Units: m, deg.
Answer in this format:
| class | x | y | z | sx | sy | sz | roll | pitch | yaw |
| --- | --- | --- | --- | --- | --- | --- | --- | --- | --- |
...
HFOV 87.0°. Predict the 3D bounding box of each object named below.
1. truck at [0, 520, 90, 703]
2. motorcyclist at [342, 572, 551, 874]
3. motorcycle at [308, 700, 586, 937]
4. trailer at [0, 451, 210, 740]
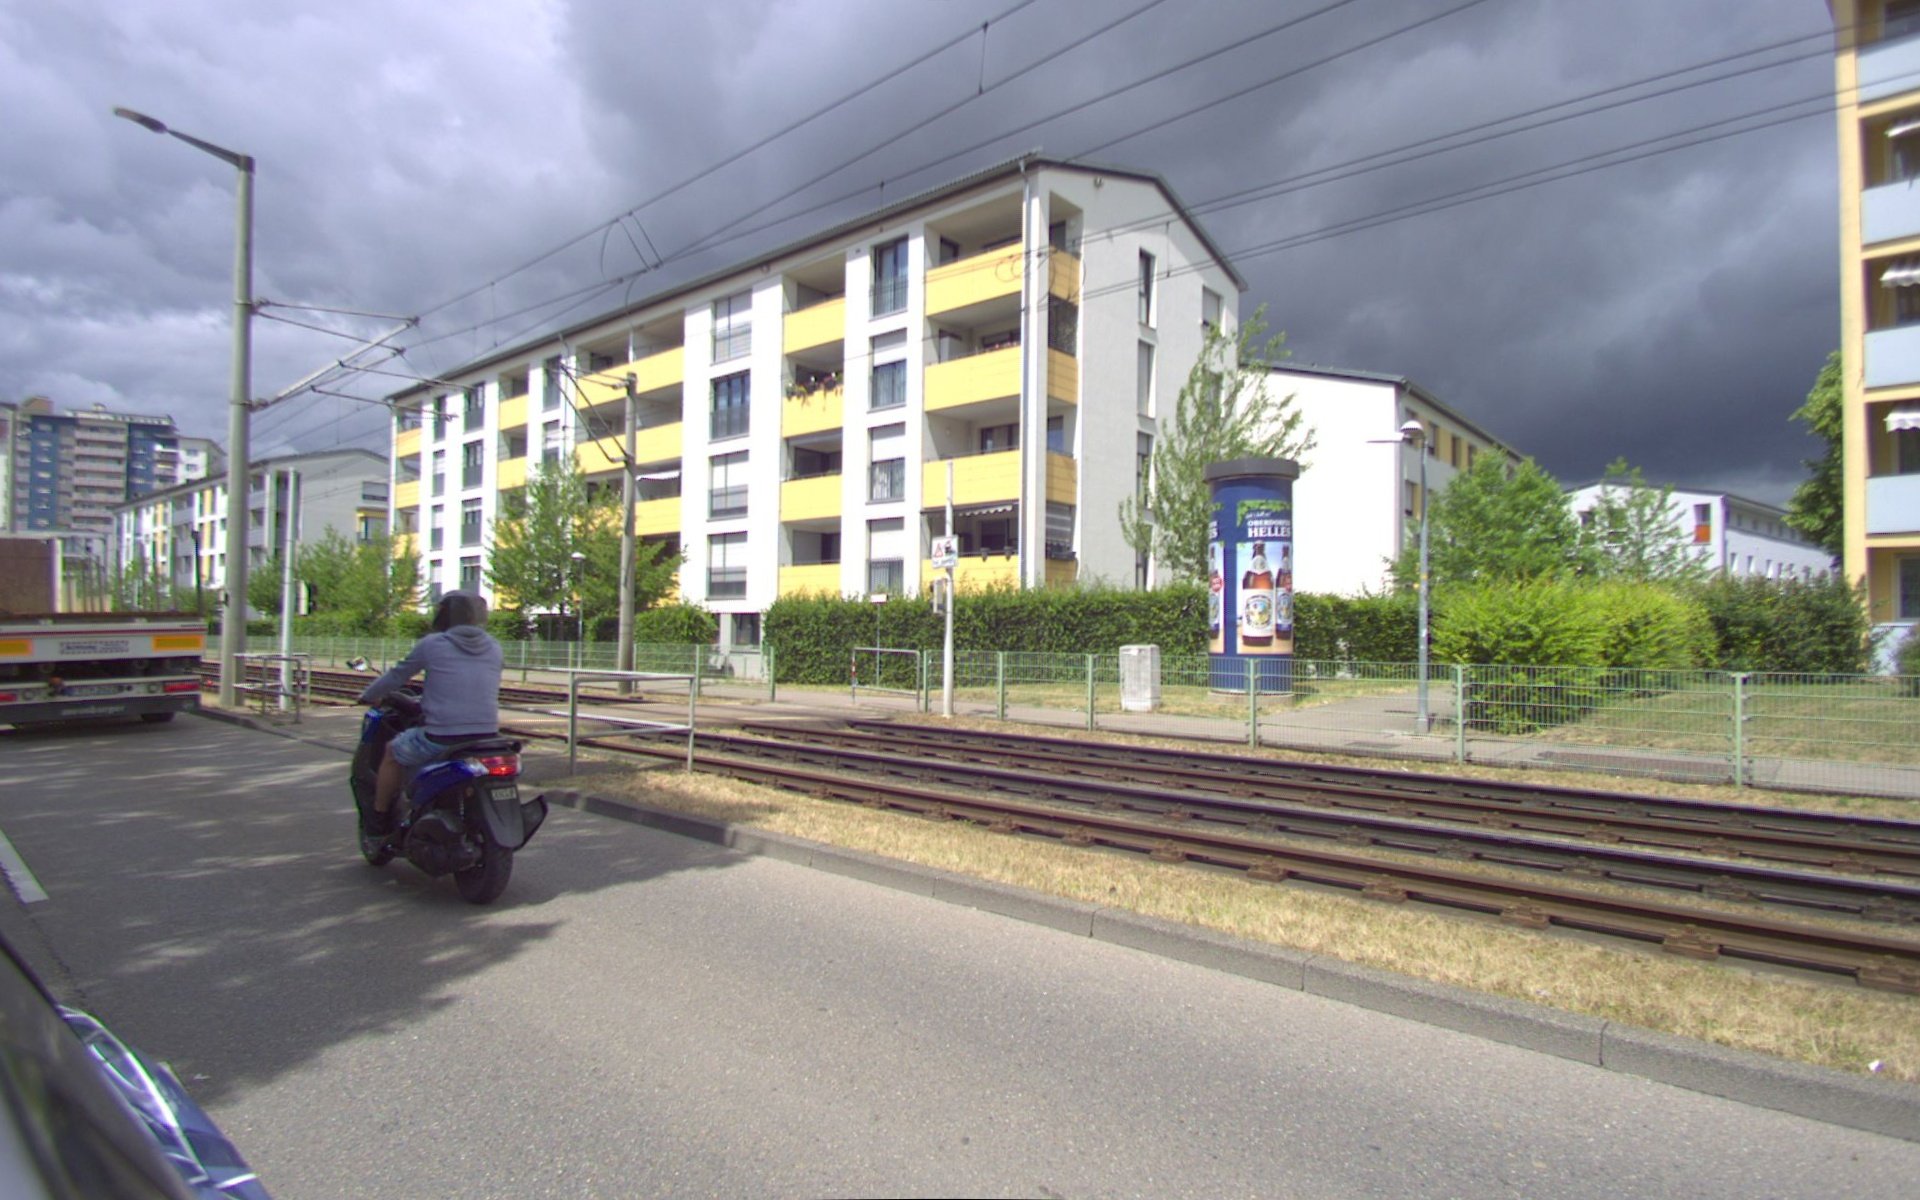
| class | x | y | z | sx | sy | sz | roll | pitch | yaw |
| --- | --- | --- | --- | --- | --- | --- | --- | --- | --- |
| truck | -21.218 | 0.301 | 22.062 | 6.143 | 3.607 | 2.669 | -2 | -2 | 42 |
| motorcyclist | -2.814 | 0.619 | 5.550 | 0.887 | 1.478 | 0.739 | -2 | -3 | 41 |
| motorcycle | -2.871 | 1.098 | 5.570 | 1.831 | 0.961 | 0.739 | -2 | -1 | 41 |
| trailer | -16.505 | 0.129 | 17.825 | 13.671 | 3.607 | 2.669 | -2 | -2 | 42 |
